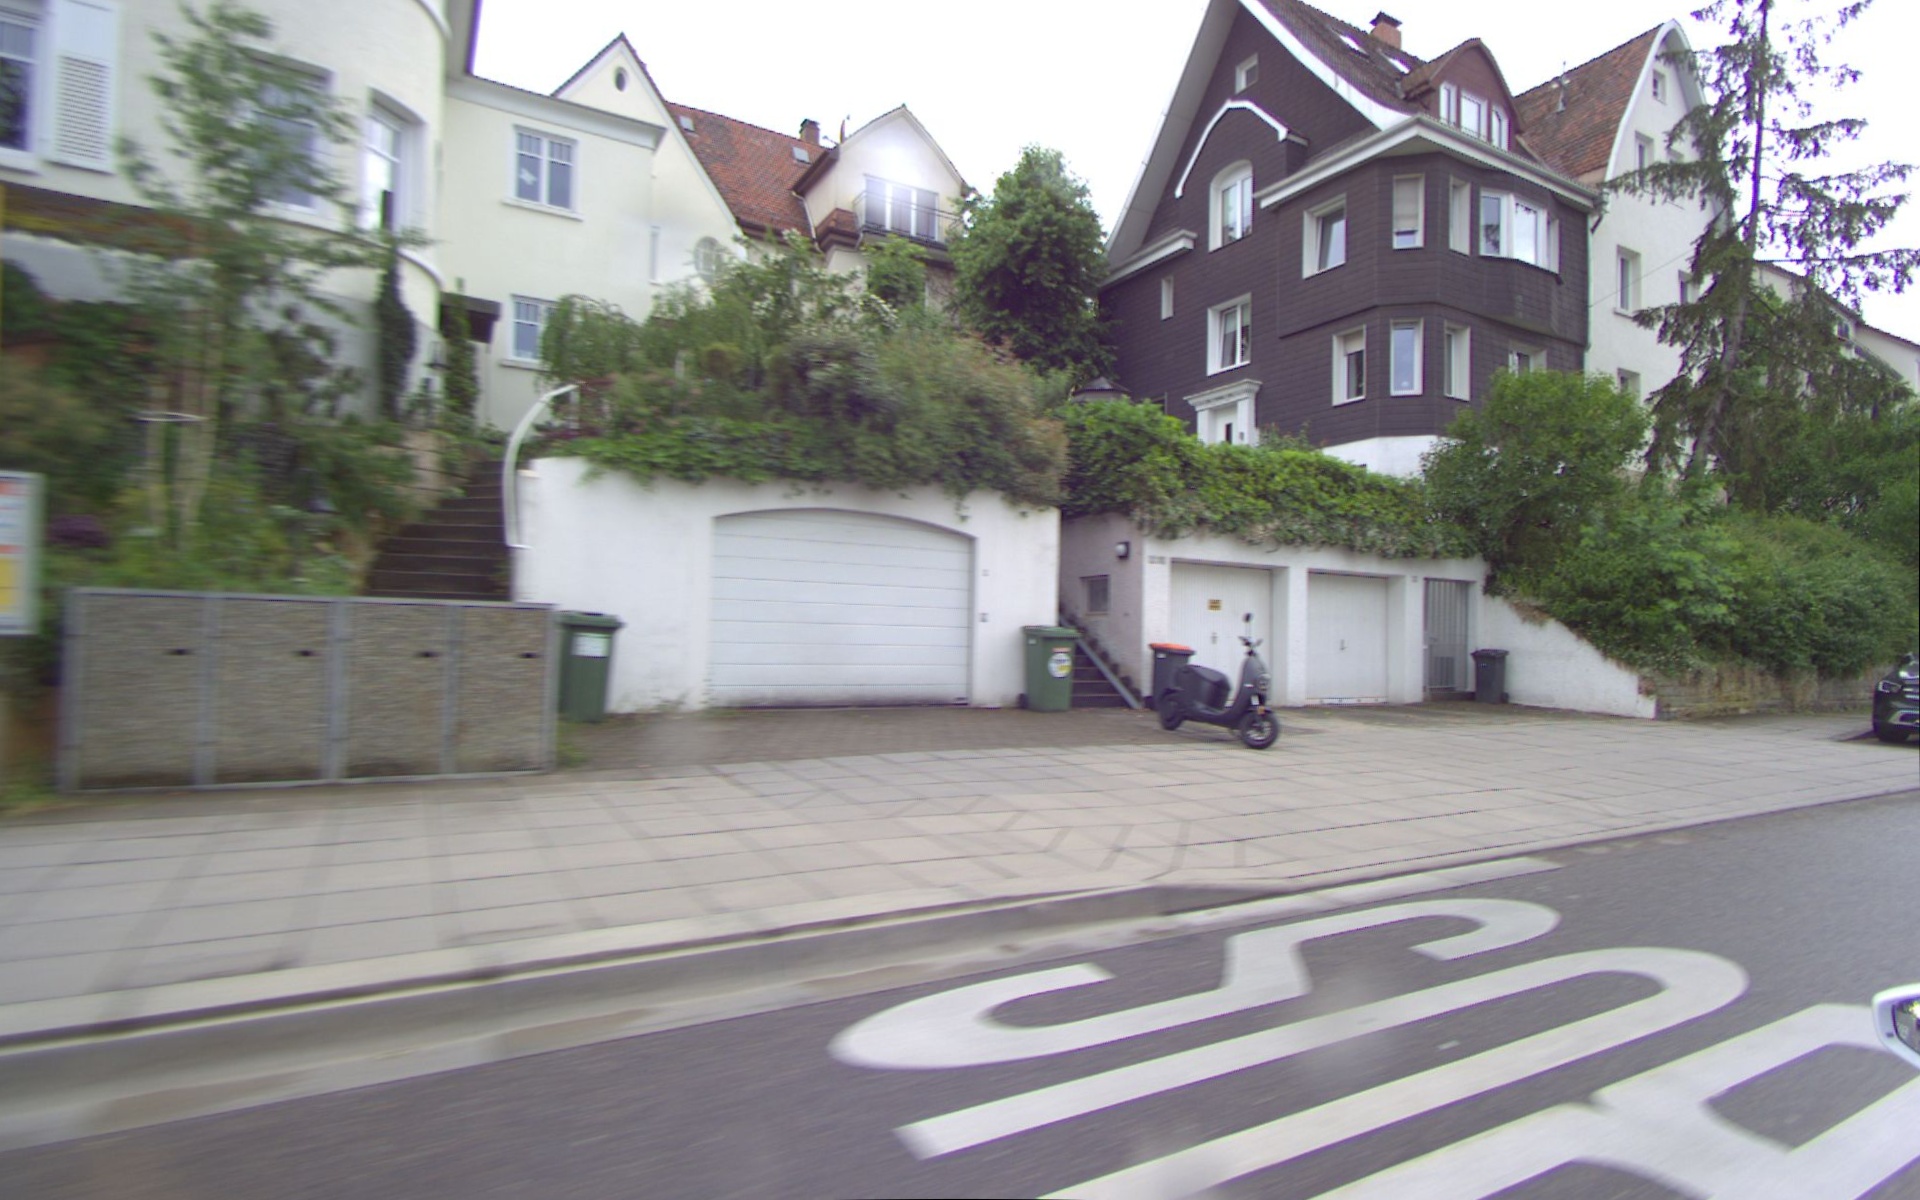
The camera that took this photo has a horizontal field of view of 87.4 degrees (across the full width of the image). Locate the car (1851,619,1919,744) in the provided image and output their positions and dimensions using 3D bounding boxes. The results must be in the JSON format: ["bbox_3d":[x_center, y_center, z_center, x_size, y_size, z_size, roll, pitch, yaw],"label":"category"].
[{"bbox_3d":[14.672,1.133,14.202,4.328,1.644,1.884,2,-1,-31],"label":"car"}]

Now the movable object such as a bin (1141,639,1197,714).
[{"bbox_3d":[2.864,1.037,13.801,0.508,0.966,0.570,0,0,-34],"label":"movable object such as a bin"}]

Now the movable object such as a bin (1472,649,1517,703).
[{"bbox_3d":[9.381,1.332,17.643,0.609,0.901,0.488,0,0,16],"label":"movable object such as a bin"}]

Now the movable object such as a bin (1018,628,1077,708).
[{"bbox_3d":[1.113,0.847,12.776,0.508,0.966,0.570,0,0,-34],"label":"movable object such as a bin"}]

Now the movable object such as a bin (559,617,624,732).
[{"bbox_3d":[-3.608,0.705,9.828,0.507,1.072,0.571,0,0,-30],"label":"movable object such as a bin"}]

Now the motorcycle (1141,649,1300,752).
[{"bbox_3d":[2.820,1.062,11.083,0.596,0.915,1.785,2,1,-30],"label":"motorcycle"}]
